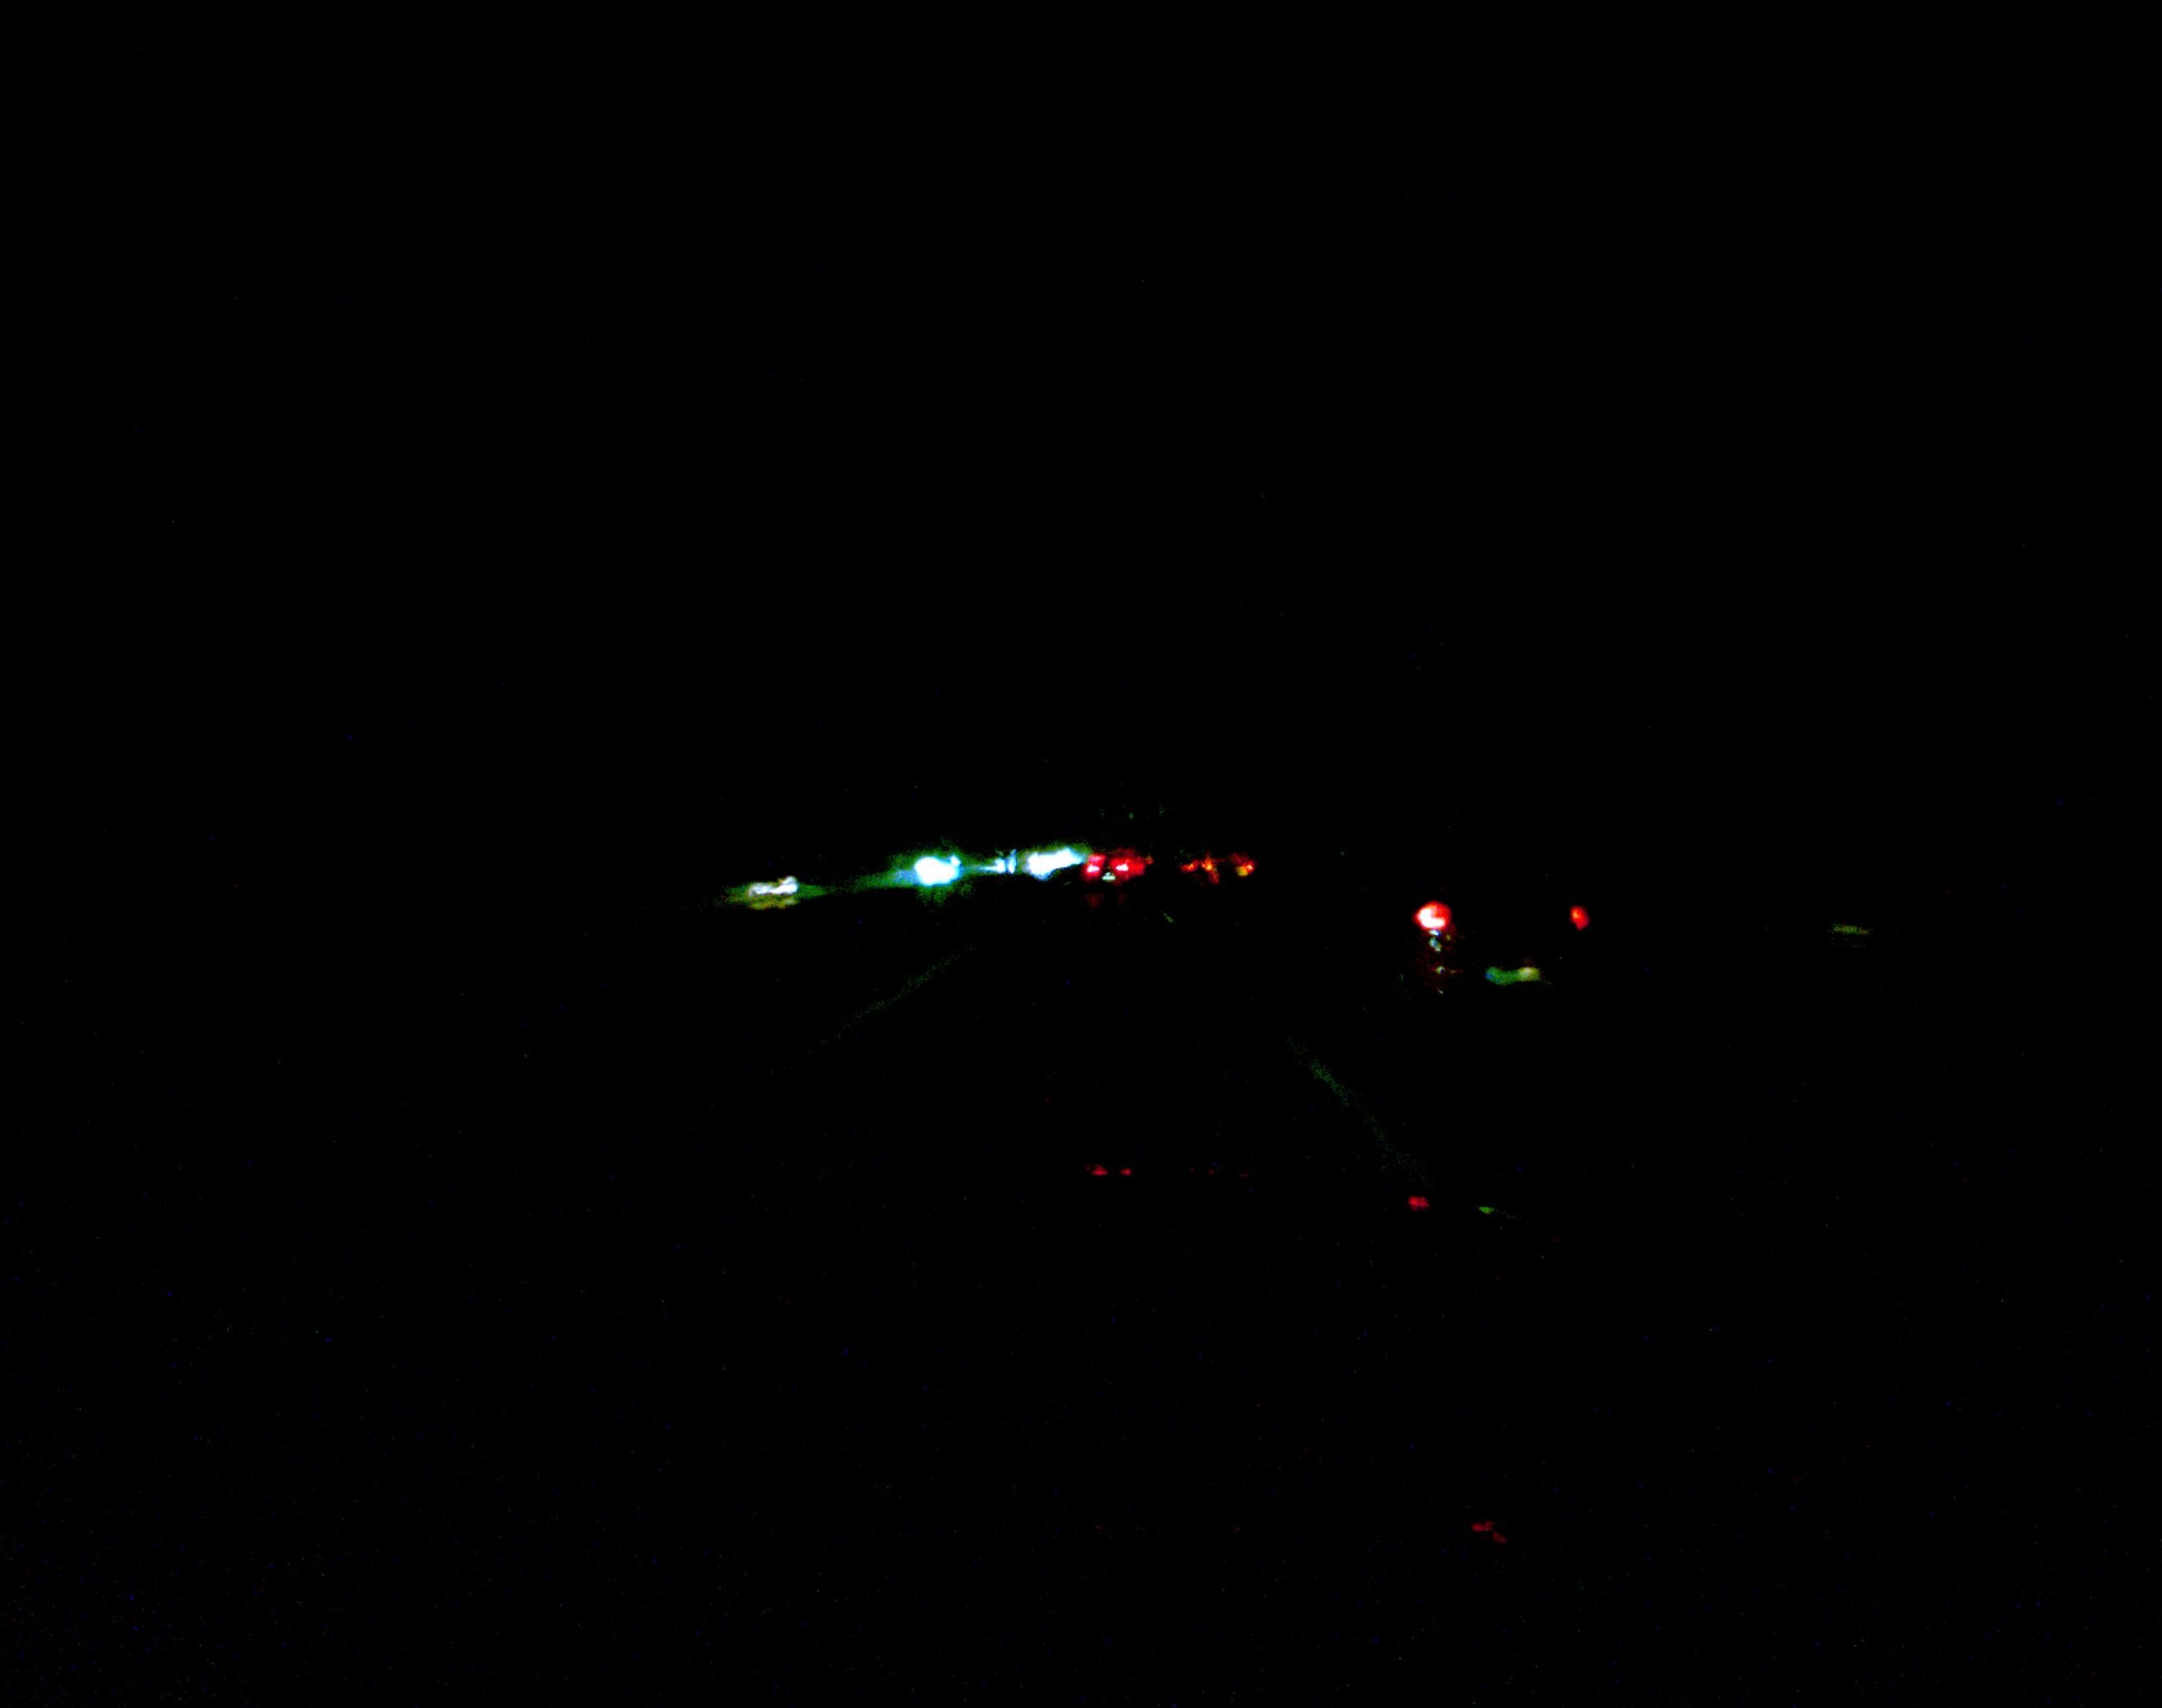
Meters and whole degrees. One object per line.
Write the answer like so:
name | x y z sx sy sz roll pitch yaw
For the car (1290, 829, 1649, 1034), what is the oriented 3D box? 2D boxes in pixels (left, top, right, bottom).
car | 3.647 0.651 8.698 1.734 1.575 4.494 -2 -1 1

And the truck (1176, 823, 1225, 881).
truck | 9.112 -0.128 62.739 2.892 4.108 6.032 -3 -1 1

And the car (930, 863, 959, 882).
car | -13.751 1.821 82.362 1.986 1.759 4.592 -3 0 2

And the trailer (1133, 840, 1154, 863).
trailer | 12.711 -0.413 166.033 3.031 4.109 13.825 -3 -1 0

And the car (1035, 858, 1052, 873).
car | -5.347 1.583 117.059 1.986 2.013 4.452 -2 0 2

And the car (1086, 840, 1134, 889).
car | 1.242 0.486 35.920 1.986 2.014 4.000 0 -2 1

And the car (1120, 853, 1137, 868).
car | 6.845 0.936 116.600 1.988 2.014 3.997 -3 -1 -2

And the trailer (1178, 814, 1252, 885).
trailer | 8.925 -0.207 56.170 2.892 4.108 14.491 -3 -1 2

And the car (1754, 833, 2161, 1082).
car | 7.531 0.631 6.114 1.634 1.503 4.014 -3 0 1

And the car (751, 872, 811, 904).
car | -18.603 2.097 50.737 1.986 1.714 4.248 -3 0 2
